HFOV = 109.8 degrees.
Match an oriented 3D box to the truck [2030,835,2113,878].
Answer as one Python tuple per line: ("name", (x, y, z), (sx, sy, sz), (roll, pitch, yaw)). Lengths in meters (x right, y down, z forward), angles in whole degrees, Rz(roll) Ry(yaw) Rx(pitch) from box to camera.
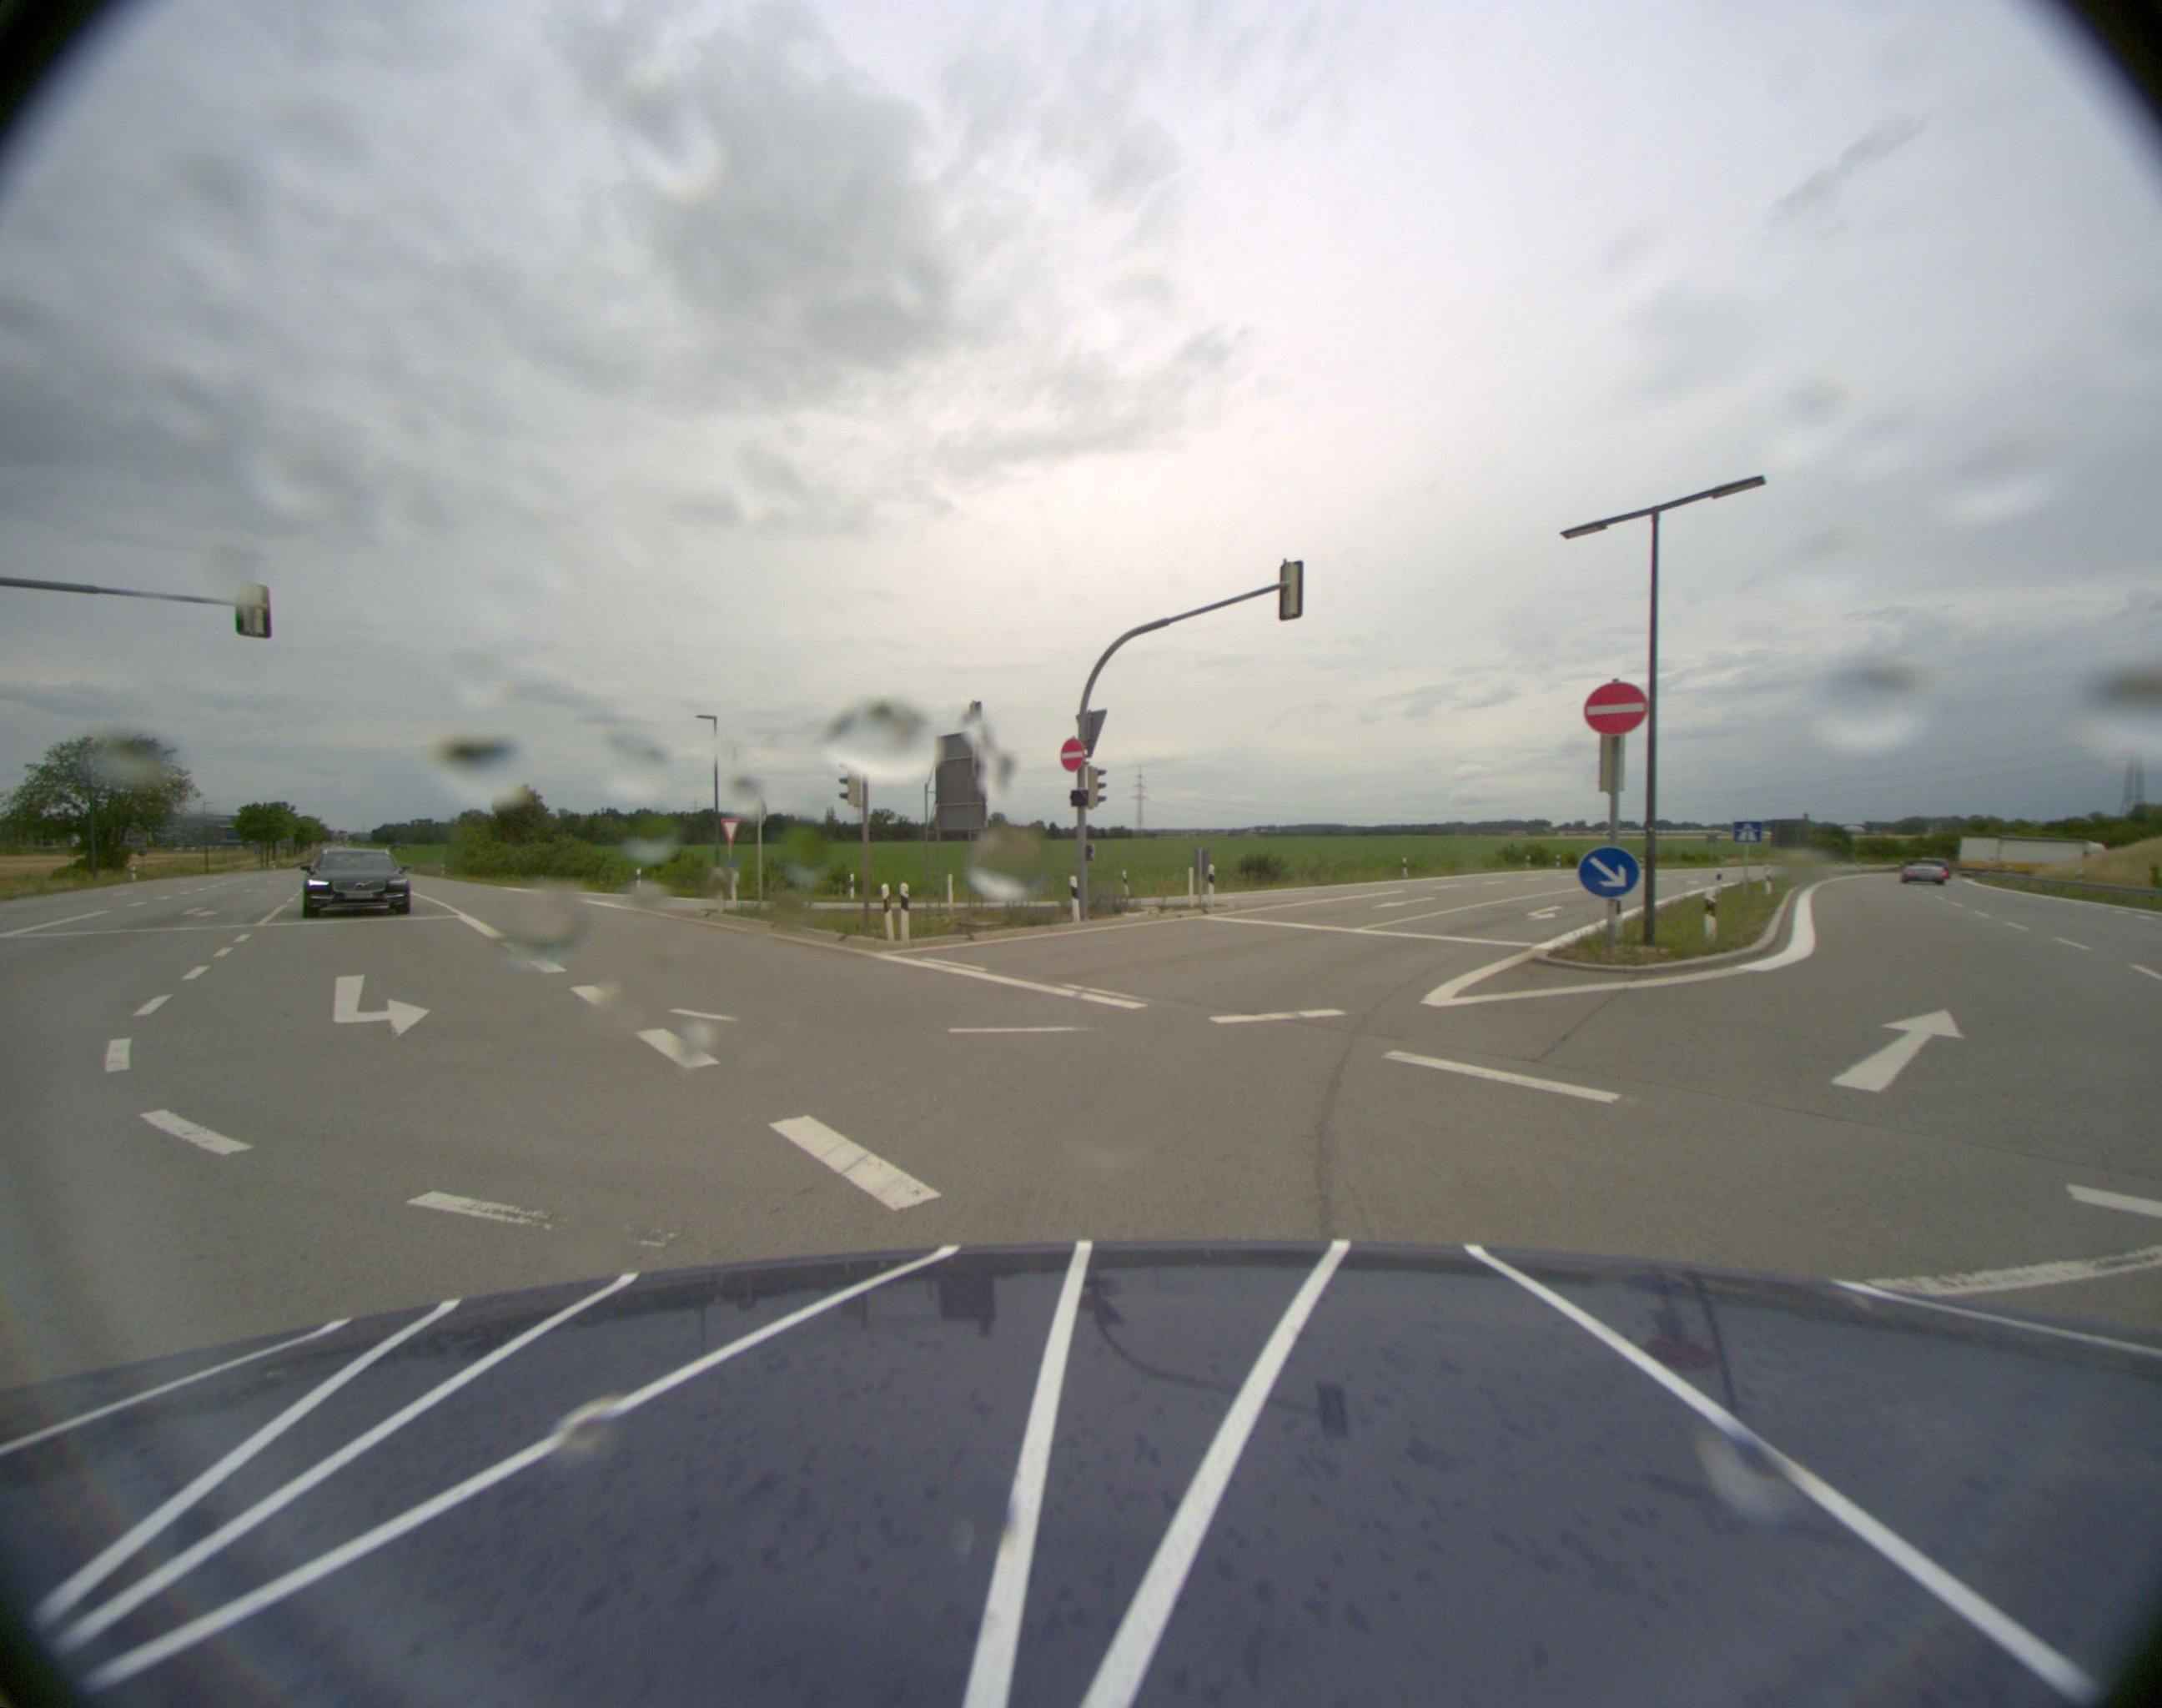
("truck", (96.718, 0.184, 74.218), (6.407, 4.118, 2.654), (0, 2, -16))

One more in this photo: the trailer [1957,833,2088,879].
("trailer", (90.038, 0.186, 72.610), (13.851, 4.187, 2.696), (0, 2, -17))

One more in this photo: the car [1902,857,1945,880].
("car", (71.175, 1.191, 64.228), (1.994, 1.684, 4.464), (2, 2, 42))

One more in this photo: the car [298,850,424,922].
("car", (-19.241, 0.751, 20.528), (2.004, 1.674, 4.984), (-1, 1, -38))

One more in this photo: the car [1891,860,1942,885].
("car", (53.718, 1.161, 48.913), (1.811, 1.511, 4.252), (1, 0, 43))
